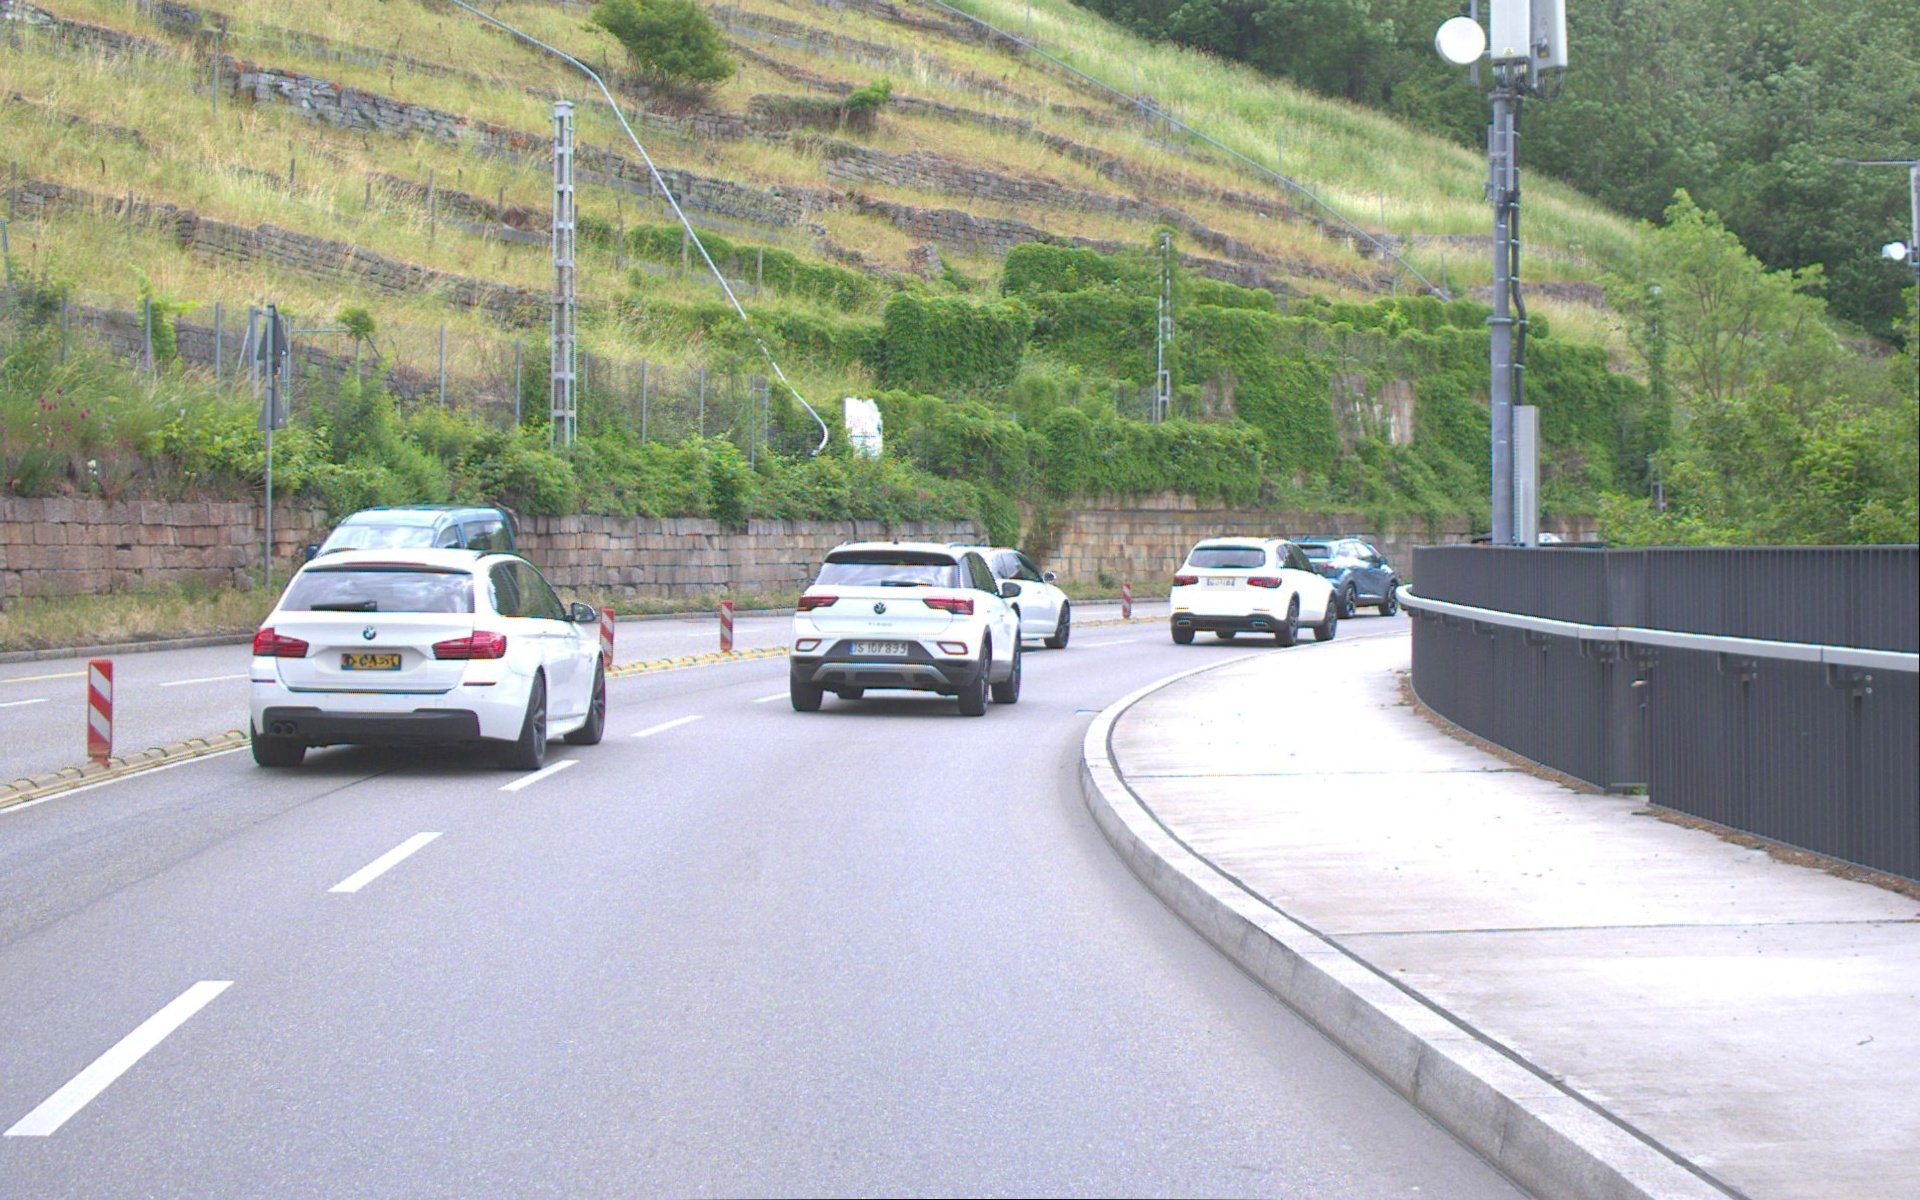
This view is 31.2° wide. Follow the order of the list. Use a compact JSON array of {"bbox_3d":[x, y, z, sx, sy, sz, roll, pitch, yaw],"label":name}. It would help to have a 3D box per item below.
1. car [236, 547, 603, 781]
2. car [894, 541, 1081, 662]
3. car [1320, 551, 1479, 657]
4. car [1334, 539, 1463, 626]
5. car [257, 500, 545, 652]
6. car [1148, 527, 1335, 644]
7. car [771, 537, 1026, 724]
[{"bbox_3d":[-3.623,0.364,23.801,1.828,1.454,4.486,0,1,0],"label":"car"},{"bbox_3d":[0.448,0.034,48.365,1.994,1.498,4.666,-4,-1,7],"label":"car"},{"bbox_3d":[8.965,0.074,69.911,1.996,2.007,3.995,-3,-1,25],"label":"car"},{"bbox_3d":[9.957,-0.359,77.845,1.872,1.756,3.995,-1,-3,23],"label":"car"},{"bbox_3d":[-7.052,-0.330,43.884,1.852,1.776,4.731,2,1,14],"label":"car"},{"bbox_3d":[4.393,-0.255,53.172,1.995,1.712,4.110,0,1,18],"label":"car"},{"bbox_3d":[-0.506,0.230,32.291,1.828,1.600,3.999,1,1,7],"label":"car"}]
